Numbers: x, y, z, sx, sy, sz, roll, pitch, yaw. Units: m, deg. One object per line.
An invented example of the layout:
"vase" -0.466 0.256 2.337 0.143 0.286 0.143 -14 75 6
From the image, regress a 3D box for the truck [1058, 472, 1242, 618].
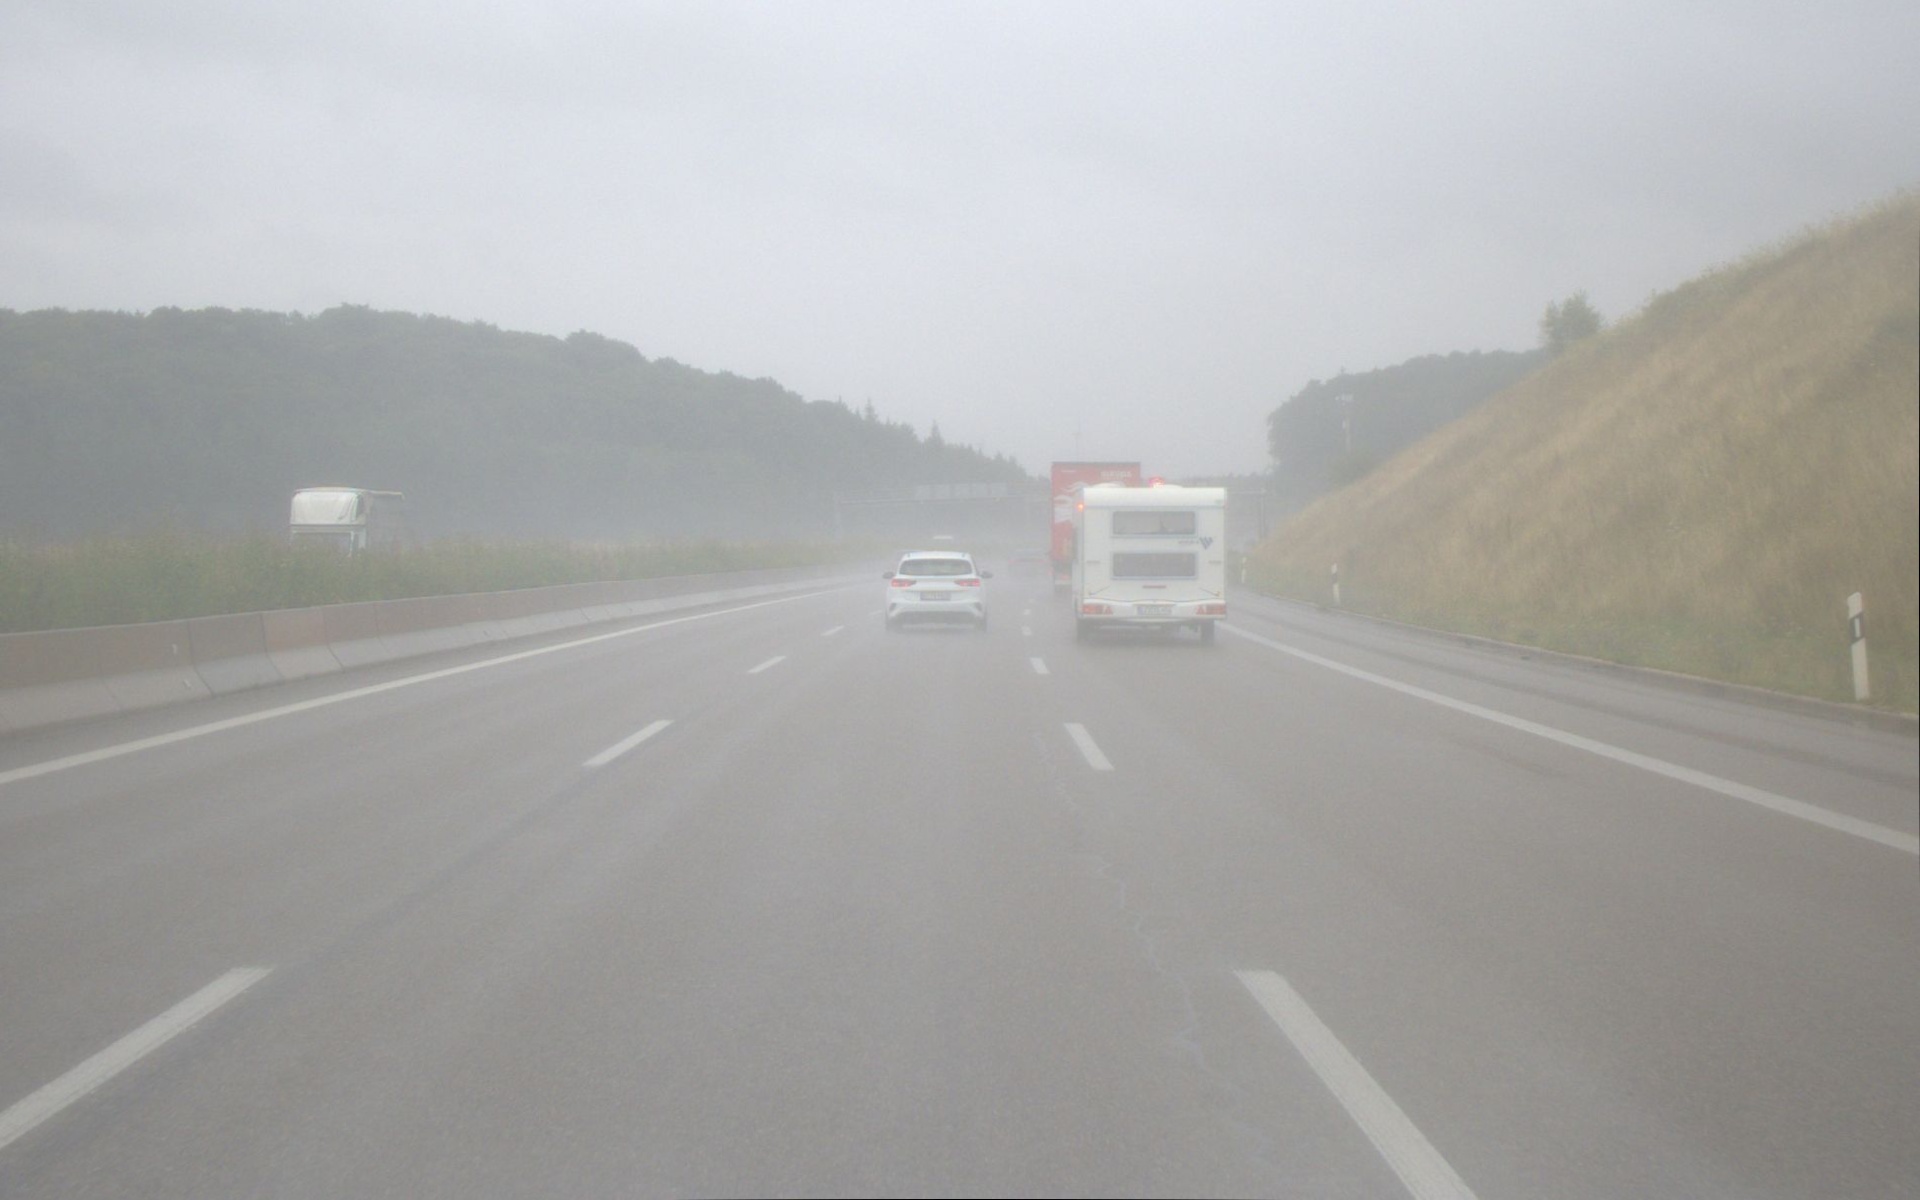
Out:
"truck" 2.987 -0.875 55.219 2.407 2.244 4.693 0 1 -4

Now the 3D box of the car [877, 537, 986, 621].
"car" -0.547 -0.372 62.186 1.867 1.458 4.000 0 0 -2

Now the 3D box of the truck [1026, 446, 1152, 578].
"truck" 3.891 -2.660 104.016 3.527 3.730 11.426 1 2 2

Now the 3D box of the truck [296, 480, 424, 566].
"truck" -18.318 -2.329 105.482 2.280 2.502 10.127 0 1 -1
